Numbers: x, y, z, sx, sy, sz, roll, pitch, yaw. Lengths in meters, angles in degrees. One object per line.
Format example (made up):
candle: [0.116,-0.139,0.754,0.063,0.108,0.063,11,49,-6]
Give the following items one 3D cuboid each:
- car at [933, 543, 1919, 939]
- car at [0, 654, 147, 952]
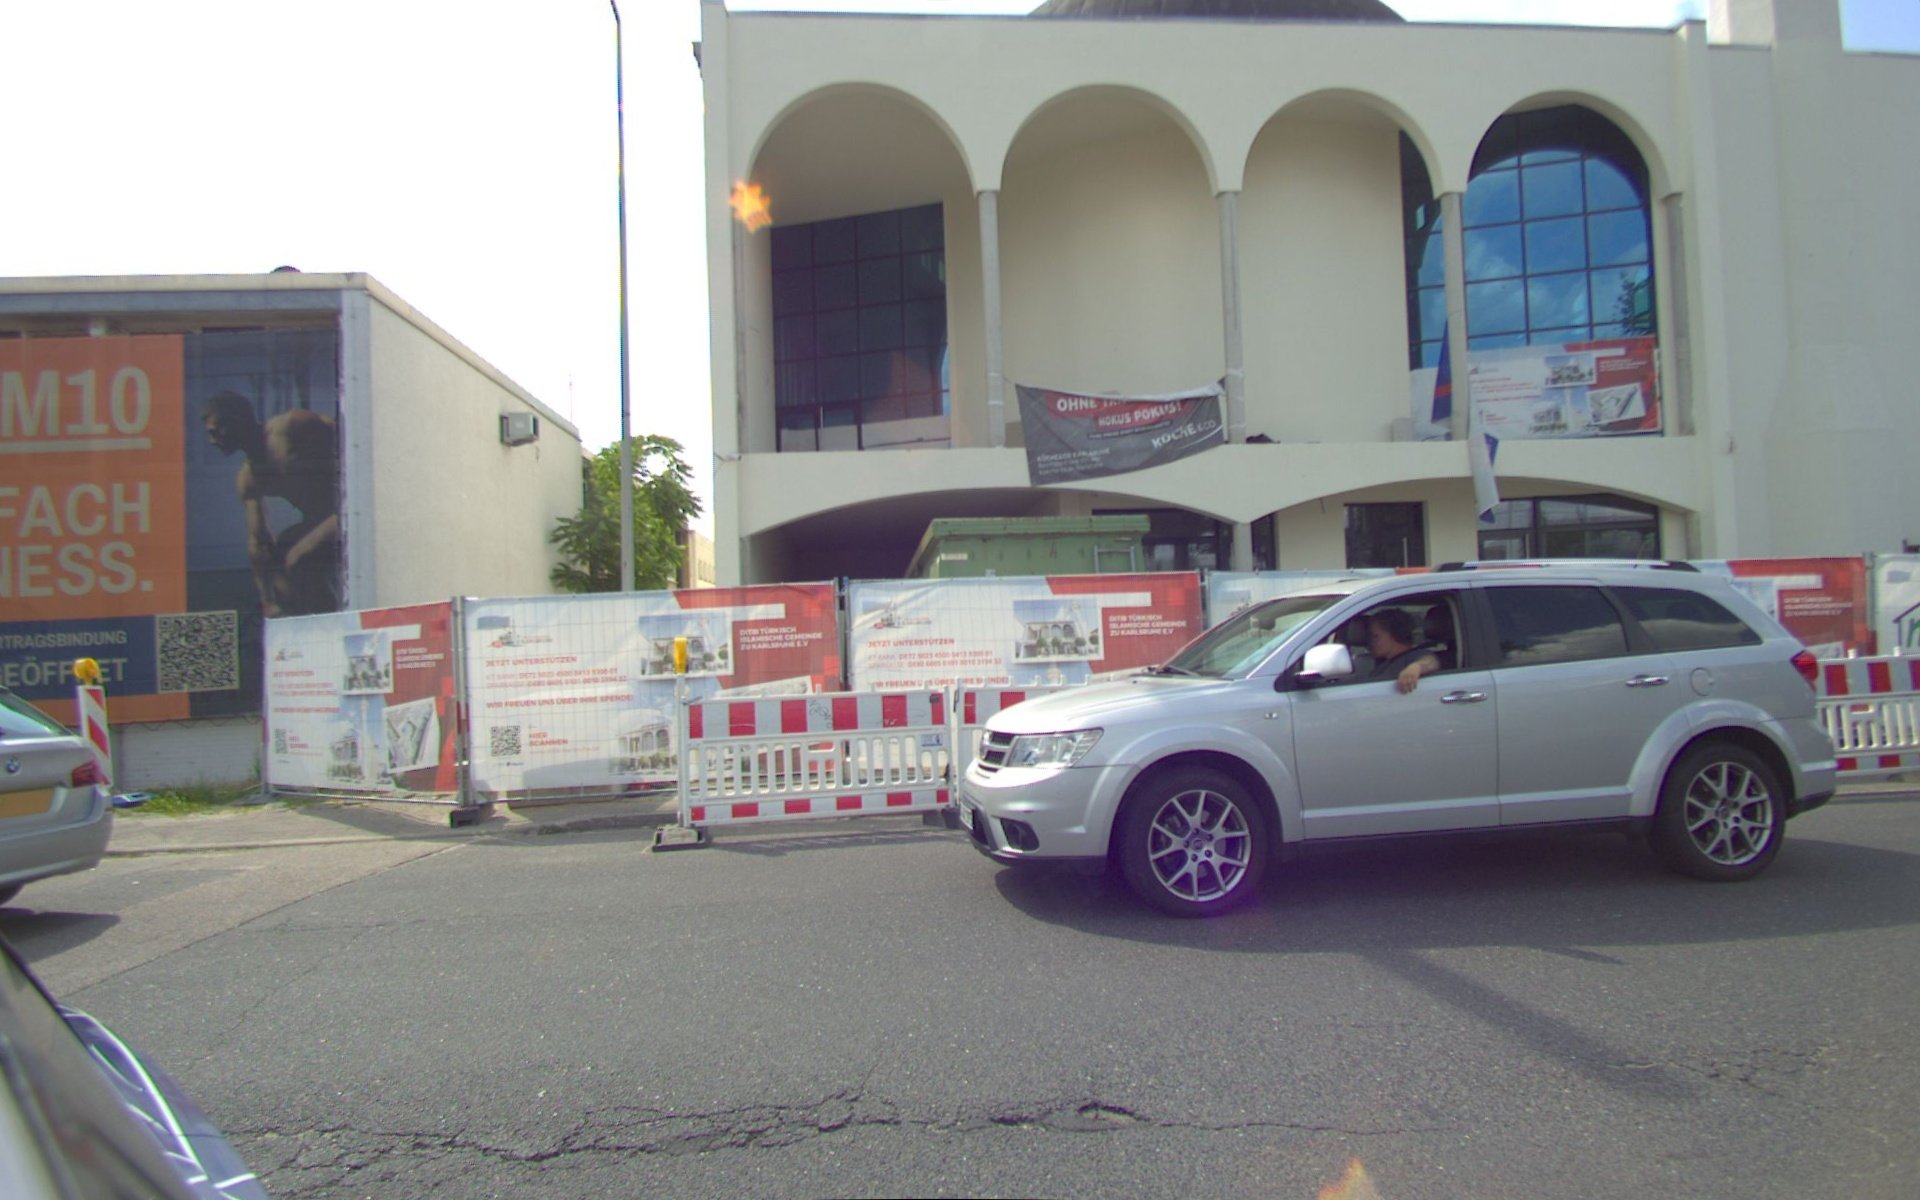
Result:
car: [2.347,0.658,5.755,4.762,1.712,1.871,-1,-4,-8]
car: [-7.094,1.097,5.118,4.553,1.491,1.770,-2,-3,0]
